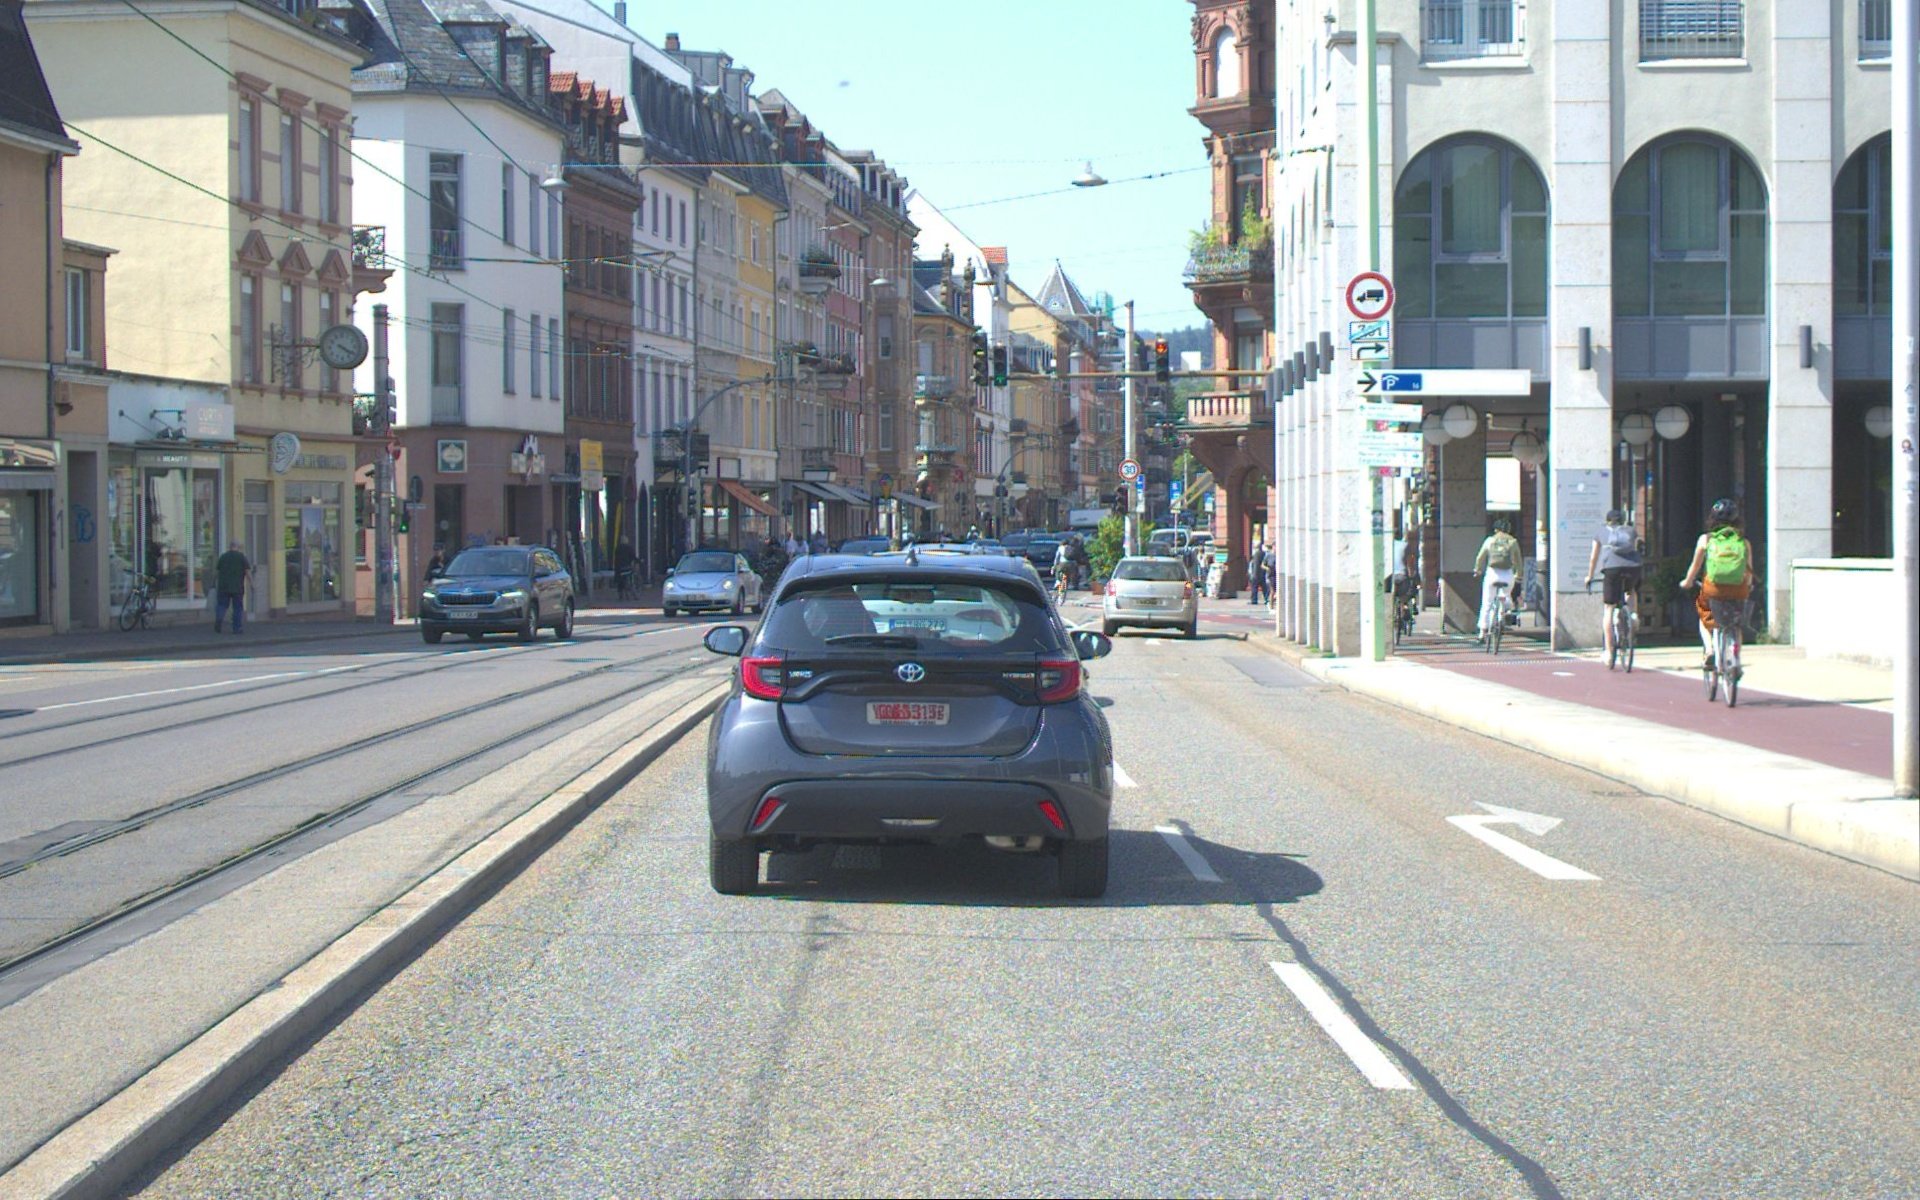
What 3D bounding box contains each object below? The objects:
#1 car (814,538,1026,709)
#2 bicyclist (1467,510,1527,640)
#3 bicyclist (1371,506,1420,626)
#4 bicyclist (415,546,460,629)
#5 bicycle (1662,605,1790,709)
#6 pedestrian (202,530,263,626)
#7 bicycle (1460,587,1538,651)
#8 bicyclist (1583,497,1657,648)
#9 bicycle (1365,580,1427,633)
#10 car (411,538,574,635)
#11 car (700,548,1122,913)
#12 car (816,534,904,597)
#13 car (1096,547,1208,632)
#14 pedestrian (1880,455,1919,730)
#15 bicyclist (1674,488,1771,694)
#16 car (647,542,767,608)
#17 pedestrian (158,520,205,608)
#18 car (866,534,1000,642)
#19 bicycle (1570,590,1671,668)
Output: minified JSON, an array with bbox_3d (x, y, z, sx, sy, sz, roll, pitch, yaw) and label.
[{"bbox_3d":[-0.403,0.183,33.376,1.897,1.525,4.000,1,1,-1],"label":"car"},{"bbox_3d":[6.851,-0.323,43.879,0.586,1.645,0.702,-1,1,-3],"label":"bicyclist"},{"bbox_3d":[6.628,-0.520,52.345,0.586,1.814,0.702,-1,1,-3],"label":"bicyclist"},{"bbox_3d":[-10.455,-0.254,68.825,0.705,1.644,0.621,2,2,8],"label":"bicyclist"},{"bbox_3d":[6.206,0.450,27.921,0.593,0.763,1.867,-1,1,0],"label":"bicycle"},{"bbox_3d":[-13.014,-0.391,61.505,0.762,1.648,0.711,4,1,8],"label":"pedestrian"},{"bbox_3d":[6.865,0.231,43.877,0.593,0.763,1.867,-1,1,-3],"label":"bicycle"},{"bbox_3d":[6.895,-0.288,35.944,0.586,1.553,0.702,-1,1,-3],"label":"bicyclist"},{"bbox_3d":[6.639,0.096,52.393,0.593,0.763,1.867,-1,1,-3],"label":"bicycle"},{"bbox_3d":[-7.669,-0.243,56.734,1.794,1.540,3.920,0,1,6],"label":"car"},{"bbox_3d":[-0.237,0.514,16.060,1.720,1.468,3.658,1,1,-1],"label":"car"},{"bbox_3d":[-2.849,-1.001,98.734,1.994,1.766,3.999,0,1,6],"label":"car"},{"bbox_3d":[3.498,-0.220,63.215,1.705,1.461,4.326,1,1,-1],"label":"car"},{"bbox_3d":[7.083,-0.063,24.306,0.811,1.918,1.127,-1,1,-1],"label":"pedestrian"},{"bbox_3d":[6.193,-0.077,27.958,0.605,1.645,0.702,-1,1,0],"label":"bicyclist"},{"bbox_3d":[-5.642,-0.568,77.209,1.994,1.427,3.999,1,1,6],"label":"car"},{"bbox_3d":[-14.639,-0.679,64.648,0.649,1.596,0.566,4,3,0],"label":"pedestrian"},{"bbox_3d":[-0.429,-0.211,51.535,1.897,1.525,4.000,1,1,-1],"label":"car"},{"bbox_3d":[6.898,0.293,35.978,0.593,0.763,1.831,-1,1,-3],"label":"bicycle"}]
